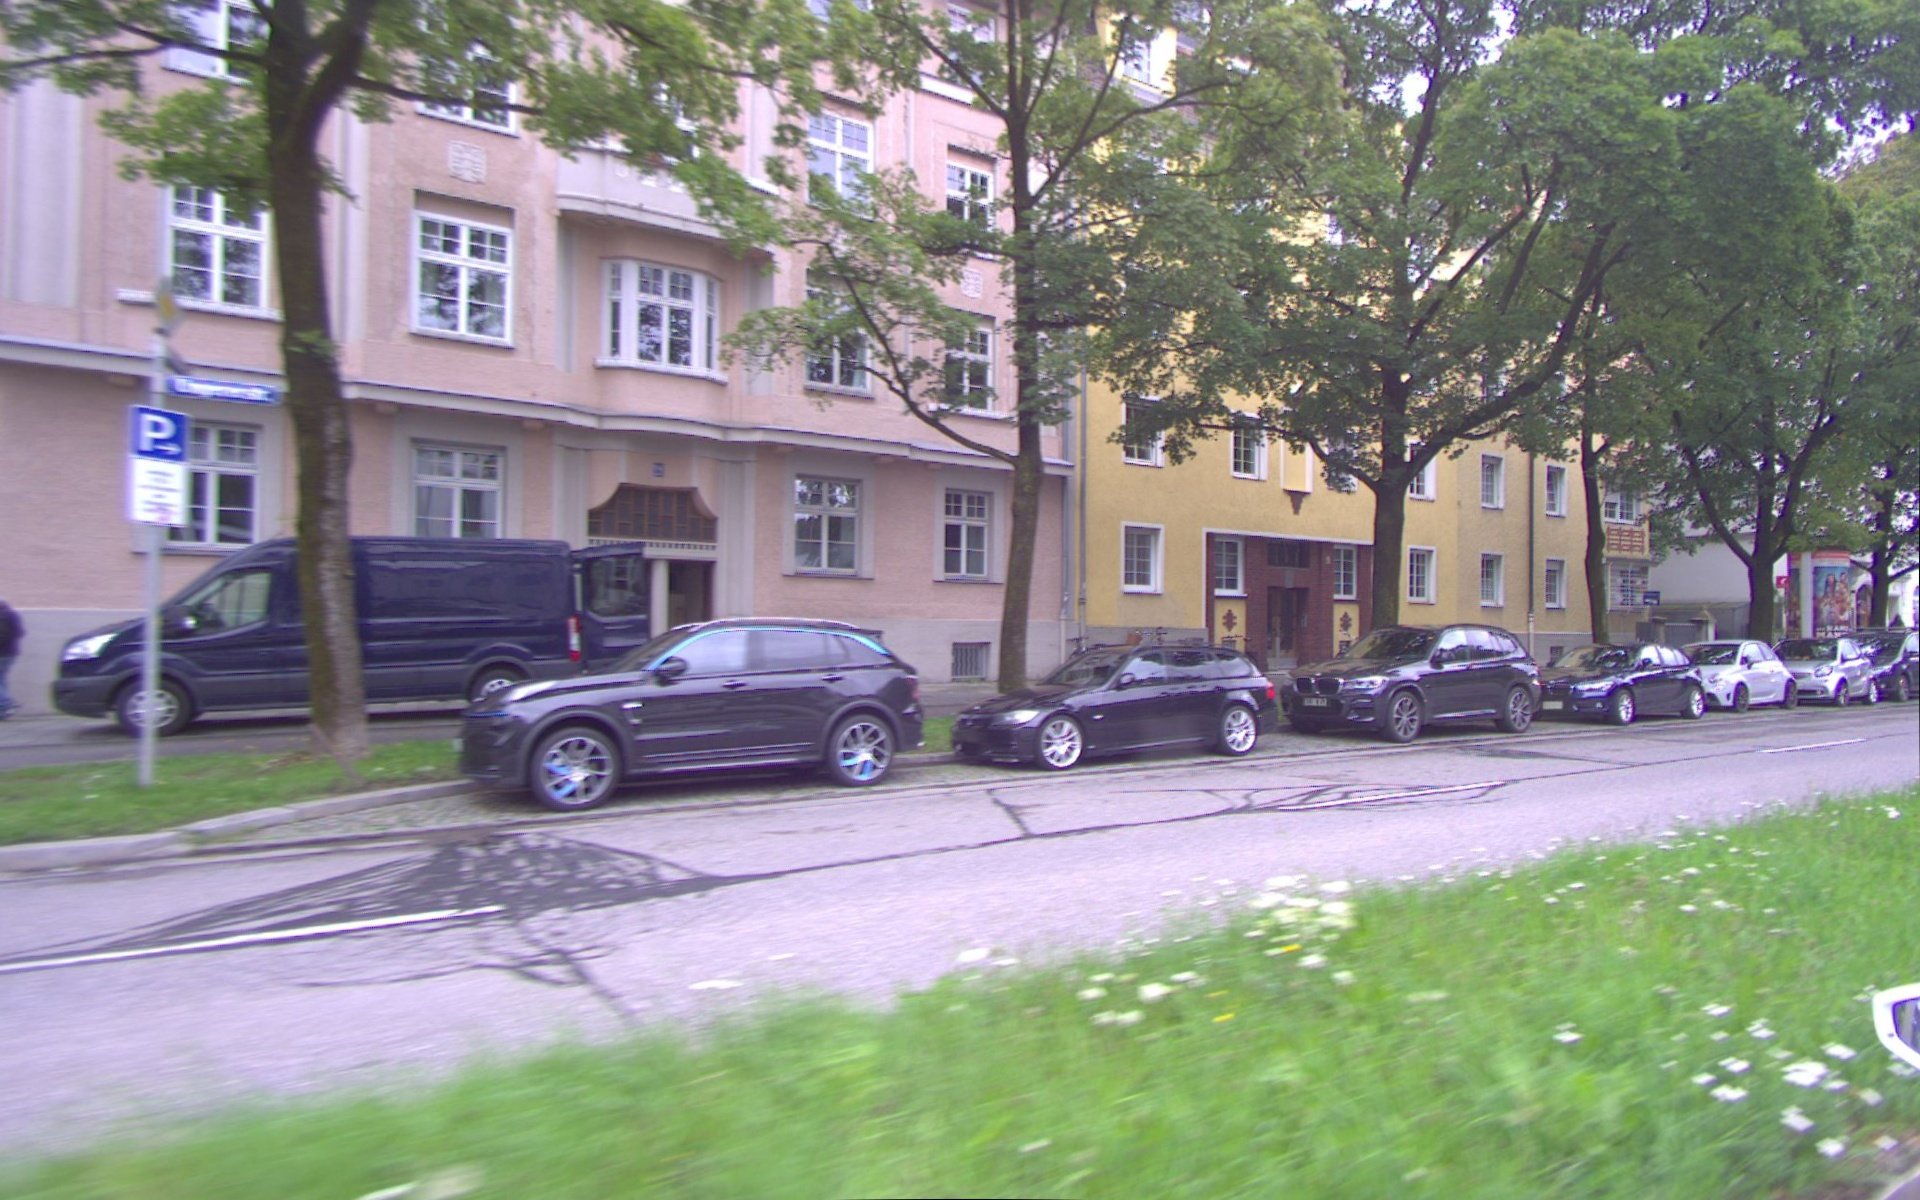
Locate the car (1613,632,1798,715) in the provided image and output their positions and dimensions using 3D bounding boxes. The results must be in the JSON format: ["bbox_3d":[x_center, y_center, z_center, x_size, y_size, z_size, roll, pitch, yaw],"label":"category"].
[{"bbox_3d":[15.751,1.482,21.195,4.009,1.582,1.718,1,-1,-30],"label":"car"}]

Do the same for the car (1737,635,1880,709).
[{"bbox_3d":[19.627,1.608,23.235,2.977,1.578,1.717,1,-1,-32],"label":"car"}]

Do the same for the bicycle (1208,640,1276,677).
[{"bbox_3d":[7.269,1.486,25.875,1.908,0.911,0.539,1,-1,-31],"label":"bicycle"}]

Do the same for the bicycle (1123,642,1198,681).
[{"bbox_3d":[4.881,1.485,24.396,1.908,0.911,0.539,1,-1,-31],"label":"bicycle"}]

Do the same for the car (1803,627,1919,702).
[{"bbox_3d":[23.518,1.566,25.471,4.711,1.751,1.802,1,-1,-30],"label":"car"}]

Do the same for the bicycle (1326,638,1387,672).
[{"bbox_3d":[11.043,1.528,27.957,1.908,0.911,0.539,1,-1,-31],"label":"bicycle"}]

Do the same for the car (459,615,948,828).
[{"bbox_3d":[-2.474,1.026,9.988,4.386,1.709,1.865,1,-1,-30],"label":"car"}]

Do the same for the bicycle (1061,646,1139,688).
[{"bbox_3d":[3.254,1.544,23.302,1.908,0.911,0.481,1,-1,-31],"label":"bicycle"}]

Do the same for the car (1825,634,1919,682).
[{"bbox_3d":[30.264,1.836,31.938,1.712,1.483,3.870,1,-1,-31],"label":"car"}]

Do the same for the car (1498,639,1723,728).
[{"bbox_3d":[11.932,1.437,18.359,4.312,1.424,1.718,1,-1,-30],"label":"car"}]

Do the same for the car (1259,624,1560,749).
[{"bbox_3d":[7.001,1.220,15.518,4.714,1.667,1.870,1,-1,-30],"label":"car"}]

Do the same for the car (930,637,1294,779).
[{"bbox_3d":[1.963,1.215,12.530,4.439,1.474,1.684,1,-1,-30],"label":"car"}]

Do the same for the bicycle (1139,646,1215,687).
[{"bbox_3d":[5.174,1.569,23.873,1.908,0.911,0.539,1,-1,-31],"label":"bicycle"}]

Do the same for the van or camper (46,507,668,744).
[{"bbox_3d":[-7.729,0.354,13.833,6.771,2.613,2.334,1,-1,-30],"label":"van or camper"}]

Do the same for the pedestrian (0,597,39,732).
[{"bbox_3d":[-12.807,0.821,13.044,1.070,1.733,0.745,1,-1,-30],"label":"pedestrian"}]

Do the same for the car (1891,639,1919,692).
[{"bbox_3d":[28.127,1.832,28.210,4.352,1.421,1.718,1,-1,-30],"label":"car"}]
